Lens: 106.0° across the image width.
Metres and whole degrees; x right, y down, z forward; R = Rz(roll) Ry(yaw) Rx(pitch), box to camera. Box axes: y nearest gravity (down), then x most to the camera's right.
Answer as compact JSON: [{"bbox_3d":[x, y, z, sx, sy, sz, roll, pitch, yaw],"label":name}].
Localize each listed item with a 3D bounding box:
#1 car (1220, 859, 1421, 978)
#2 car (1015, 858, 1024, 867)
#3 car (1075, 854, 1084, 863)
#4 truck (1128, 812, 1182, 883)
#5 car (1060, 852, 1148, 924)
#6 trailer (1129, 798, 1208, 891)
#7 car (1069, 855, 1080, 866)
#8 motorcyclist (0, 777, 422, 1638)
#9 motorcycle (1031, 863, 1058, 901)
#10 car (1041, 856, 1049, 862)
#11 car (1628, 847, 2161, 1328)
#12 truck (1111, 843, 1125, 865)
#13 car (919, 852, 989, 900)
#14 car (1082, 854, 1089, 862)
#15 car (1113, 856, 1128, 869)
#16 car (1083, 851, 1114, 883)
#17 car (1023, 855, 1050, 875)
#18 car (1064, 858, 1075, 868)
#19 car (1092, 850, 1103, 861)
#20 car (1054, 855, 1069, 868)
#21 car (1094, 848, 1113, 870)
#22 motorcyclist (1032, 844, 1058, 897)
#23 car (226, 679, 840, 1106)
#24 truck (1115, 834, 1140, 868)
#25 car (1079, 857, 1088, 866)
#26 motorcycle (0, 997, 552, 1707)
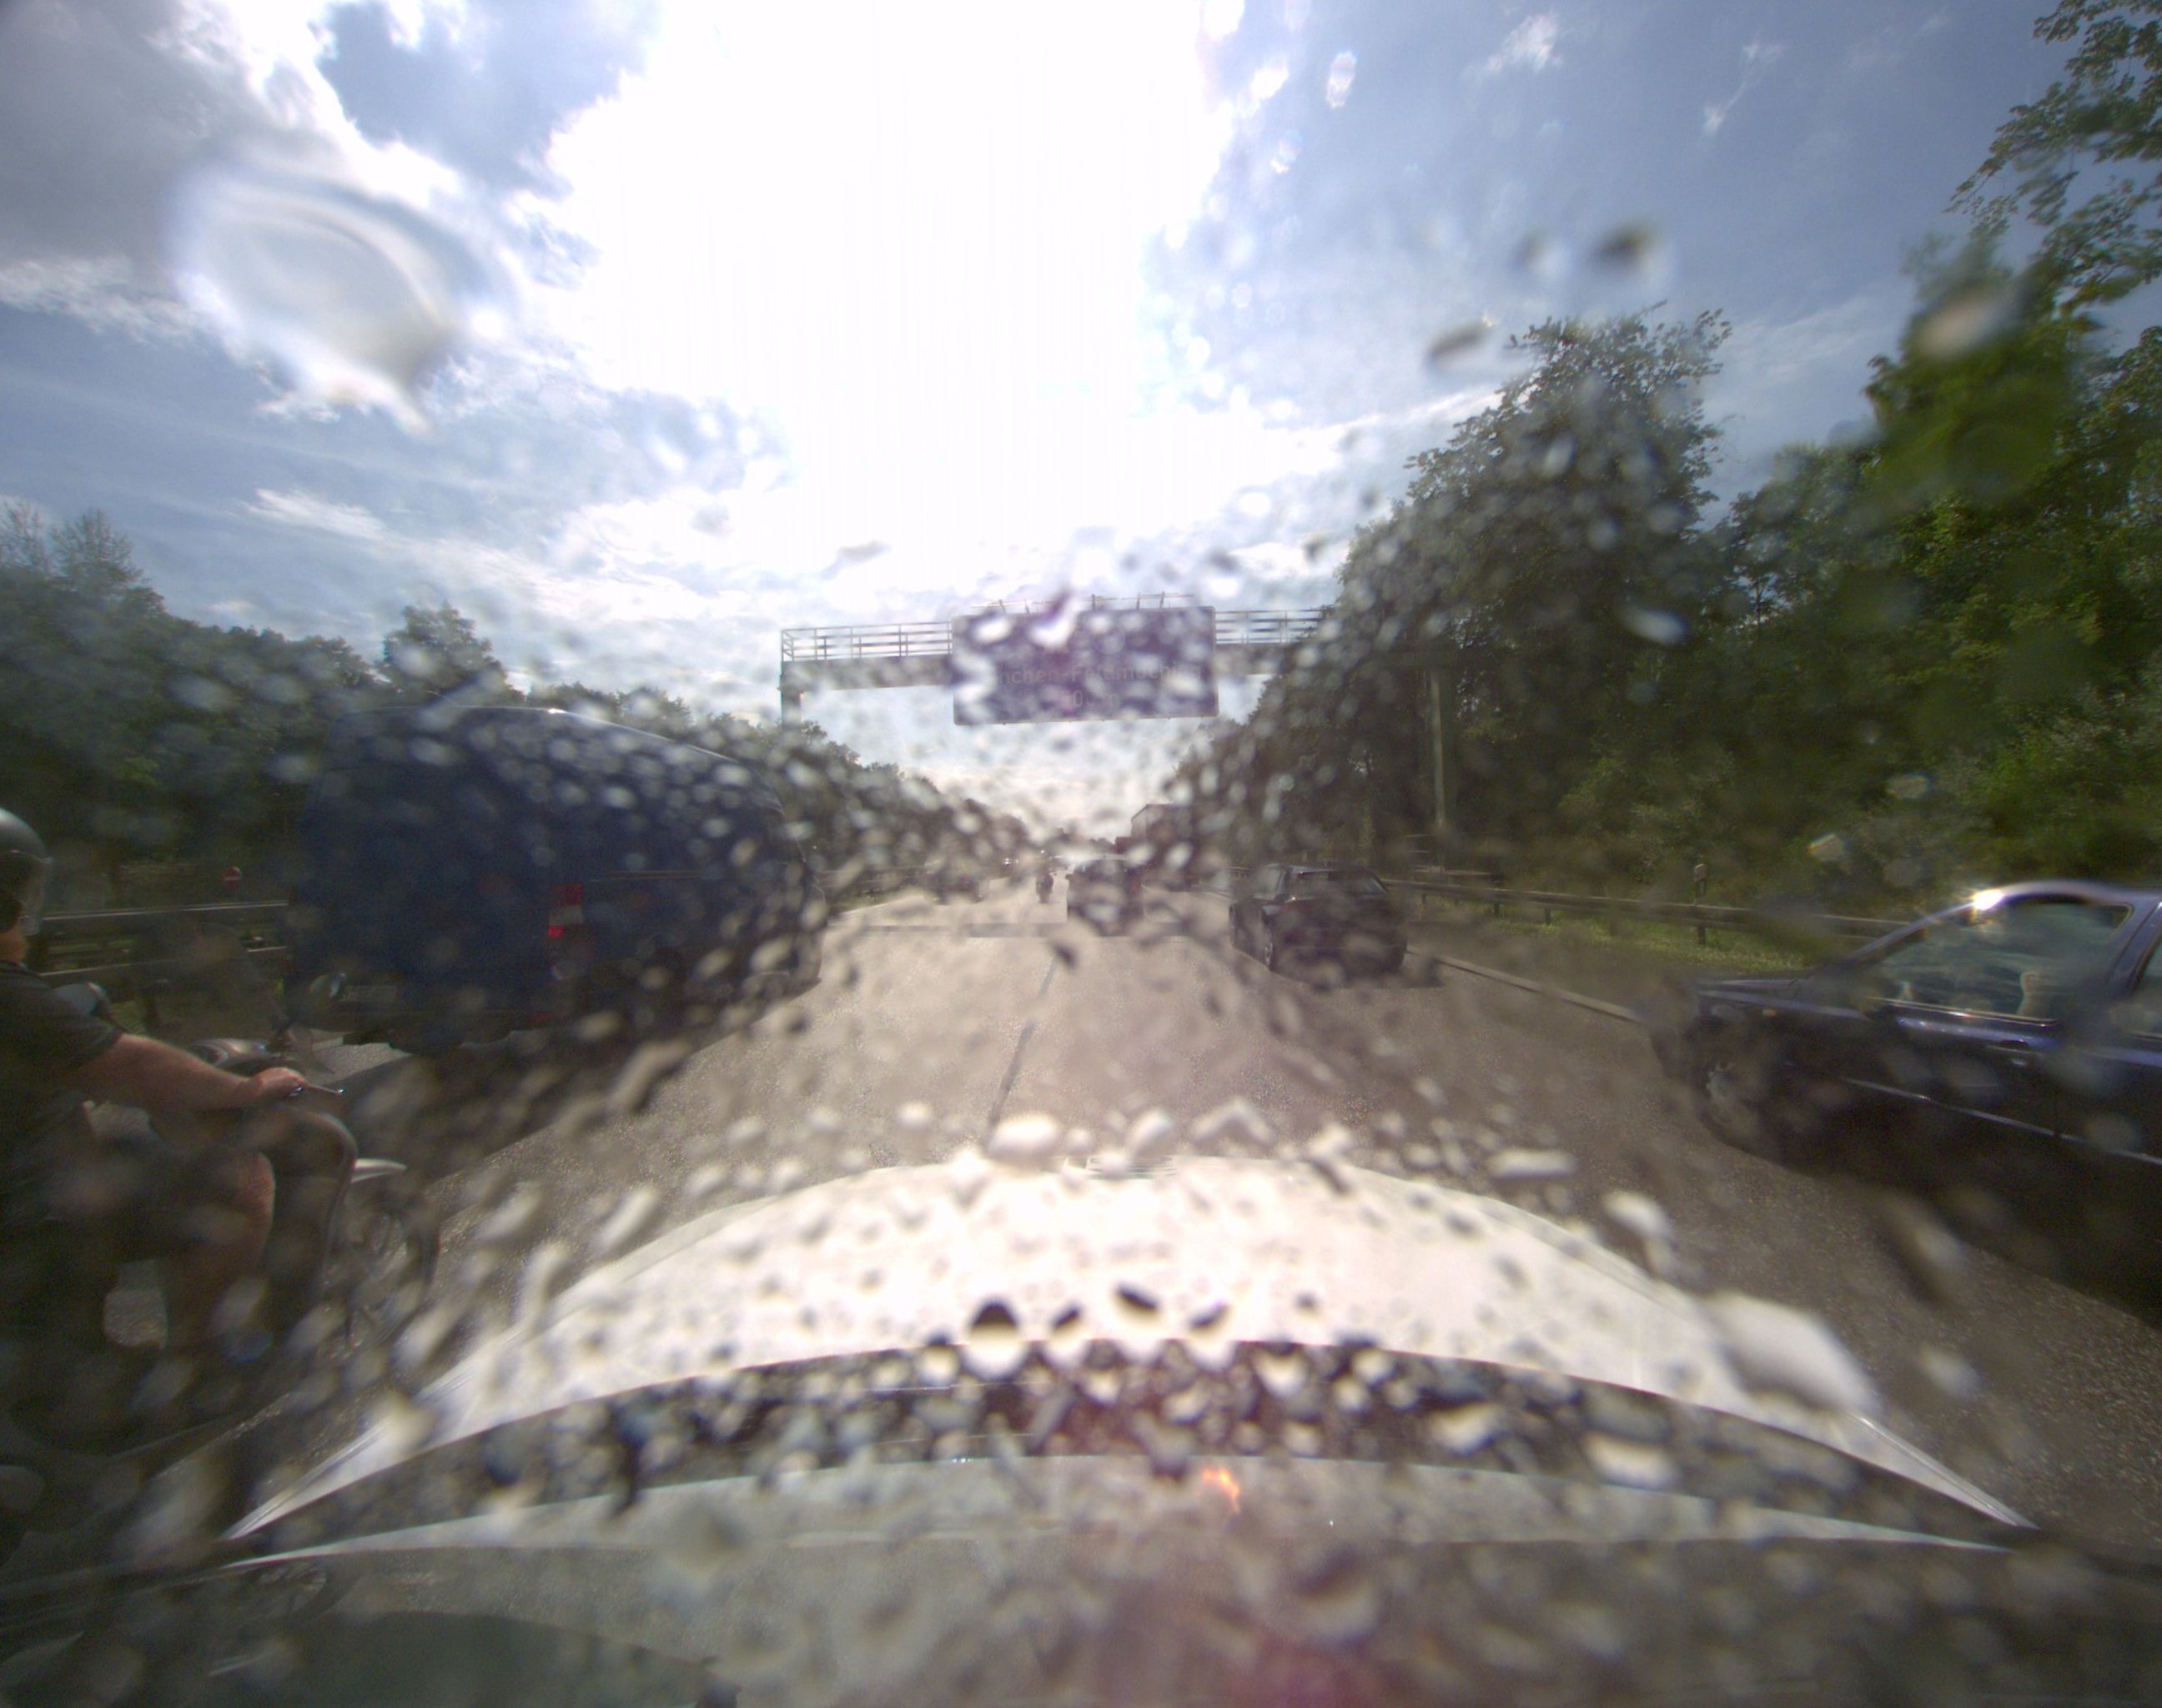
[{"bbox_3d":[3.272,0.792,12.035,1.749,1.396,4.369,-1,0,1],"label":"car"},{"bbox_3d":[-15.532,2.149,205.831,1.987,2.013,4.000,0,0,1],"label":"car"},{"bbox_3d":[-0.336,0.993,178.216,1.986,2.014,4.000,-1,-1,1],"label":"car"},{"bbox_3d":[4.668,-0.409,52.493,3.041,4.325,5.888,-1,0,1],"label":"truck"},{"bbox_3d":[0.549,0.759,20.138,1.908,1.565,4.314,-1,0,1],"label":"car"},{"bbox_3d":[4.497,-0.420,45.200,3.077,4.312,14.107,-1,0,1],"label":"trailer"},{"bbox_3d":[-1.267,1.255,156.181,1.986,2.014,4.000,-1,-1,1],"label":"car"},{"bbox_3d":[-2.160,0.599,1.747,0.669,1.442,1.019,-1,-1,-2],"label":"motorcyclist"},{"bbox_3d":[-1.243,0.947,28.181,0.817,1.263,2.117,-1,0,0],"label":"motorcycle"},{"bbox_3d":[-10.485,1.516,235.251,1.915,1.580,4.000,-2,0,1],"label":"car"},{"bbox_3d":[4.094,0.703,2.995,1.645,1.456,3.744,-1,0,0],"label":"car"},{"bbox_3d":[8.243,-0.001,182.168,2.871,4.687,12.661,-1,-1,1],"label":"truck"},{"bbox_3d":[-4.471,0.739,29.343,1.752,1.595,4.331,-1,0,1],"label":"car"},{"bbox_3d":[1.247,1.080,218.726,1.986,2.014,4.000,-1,-1,1],"label":"car"},{"bbox_3d":[4.632,1.016,95.253,1.669,1.490,3.437,-1,0,1],"label":"car"},{"bbox_3d":[1.142,0.851,53.520,1.987,2.014,4.000,-1,-1,1],"label":"car"},{"bbox_3d":[-3.722,0.900,68.541,1.886,1.628,4.195,-1,0,1],"label":"car"},{"bbox_3d":[-1.775,1.413,130.510,1.669,1.490,3.437,-1,0,1],"label":"car"},{"bbox_3d":[2.438,0.205,119.366,1.626,1.490,3.437,-1,0,1],"label":"car"},{"bbox_3d":[-2.317,0.898,99.776,1.669,1.597,3.437,-1,0,1],"label":"car"},{"bbox_3d":[2.014,0.469,73.401,1.669,1.936,3.774,-1,0,1],"label":"car"},{"bbox_3d":[-1.247,0.565,28.195,0.818,1.761,1.390,-1,-1,0],"label":"motorcyclist"},{"bbox_3d":[-4.301,0.252,7.998,2.008,2.648,5.777,-1,0,1],"label":"car"},{"bbox_3d":[6.434,-0.368,113.716,3.190,4.404,9.436,-1,0,2],"label":"truck"},{"bbox_3d":[0.677,1.807,200.062,1.986,2.014,4.000,-1,-1,1],"label":"car"},{"bbox_3d":[-2.153,1.044,1.836,0.674,1.087,1.980,0,0,-2],"label":"motorcycle"}]
